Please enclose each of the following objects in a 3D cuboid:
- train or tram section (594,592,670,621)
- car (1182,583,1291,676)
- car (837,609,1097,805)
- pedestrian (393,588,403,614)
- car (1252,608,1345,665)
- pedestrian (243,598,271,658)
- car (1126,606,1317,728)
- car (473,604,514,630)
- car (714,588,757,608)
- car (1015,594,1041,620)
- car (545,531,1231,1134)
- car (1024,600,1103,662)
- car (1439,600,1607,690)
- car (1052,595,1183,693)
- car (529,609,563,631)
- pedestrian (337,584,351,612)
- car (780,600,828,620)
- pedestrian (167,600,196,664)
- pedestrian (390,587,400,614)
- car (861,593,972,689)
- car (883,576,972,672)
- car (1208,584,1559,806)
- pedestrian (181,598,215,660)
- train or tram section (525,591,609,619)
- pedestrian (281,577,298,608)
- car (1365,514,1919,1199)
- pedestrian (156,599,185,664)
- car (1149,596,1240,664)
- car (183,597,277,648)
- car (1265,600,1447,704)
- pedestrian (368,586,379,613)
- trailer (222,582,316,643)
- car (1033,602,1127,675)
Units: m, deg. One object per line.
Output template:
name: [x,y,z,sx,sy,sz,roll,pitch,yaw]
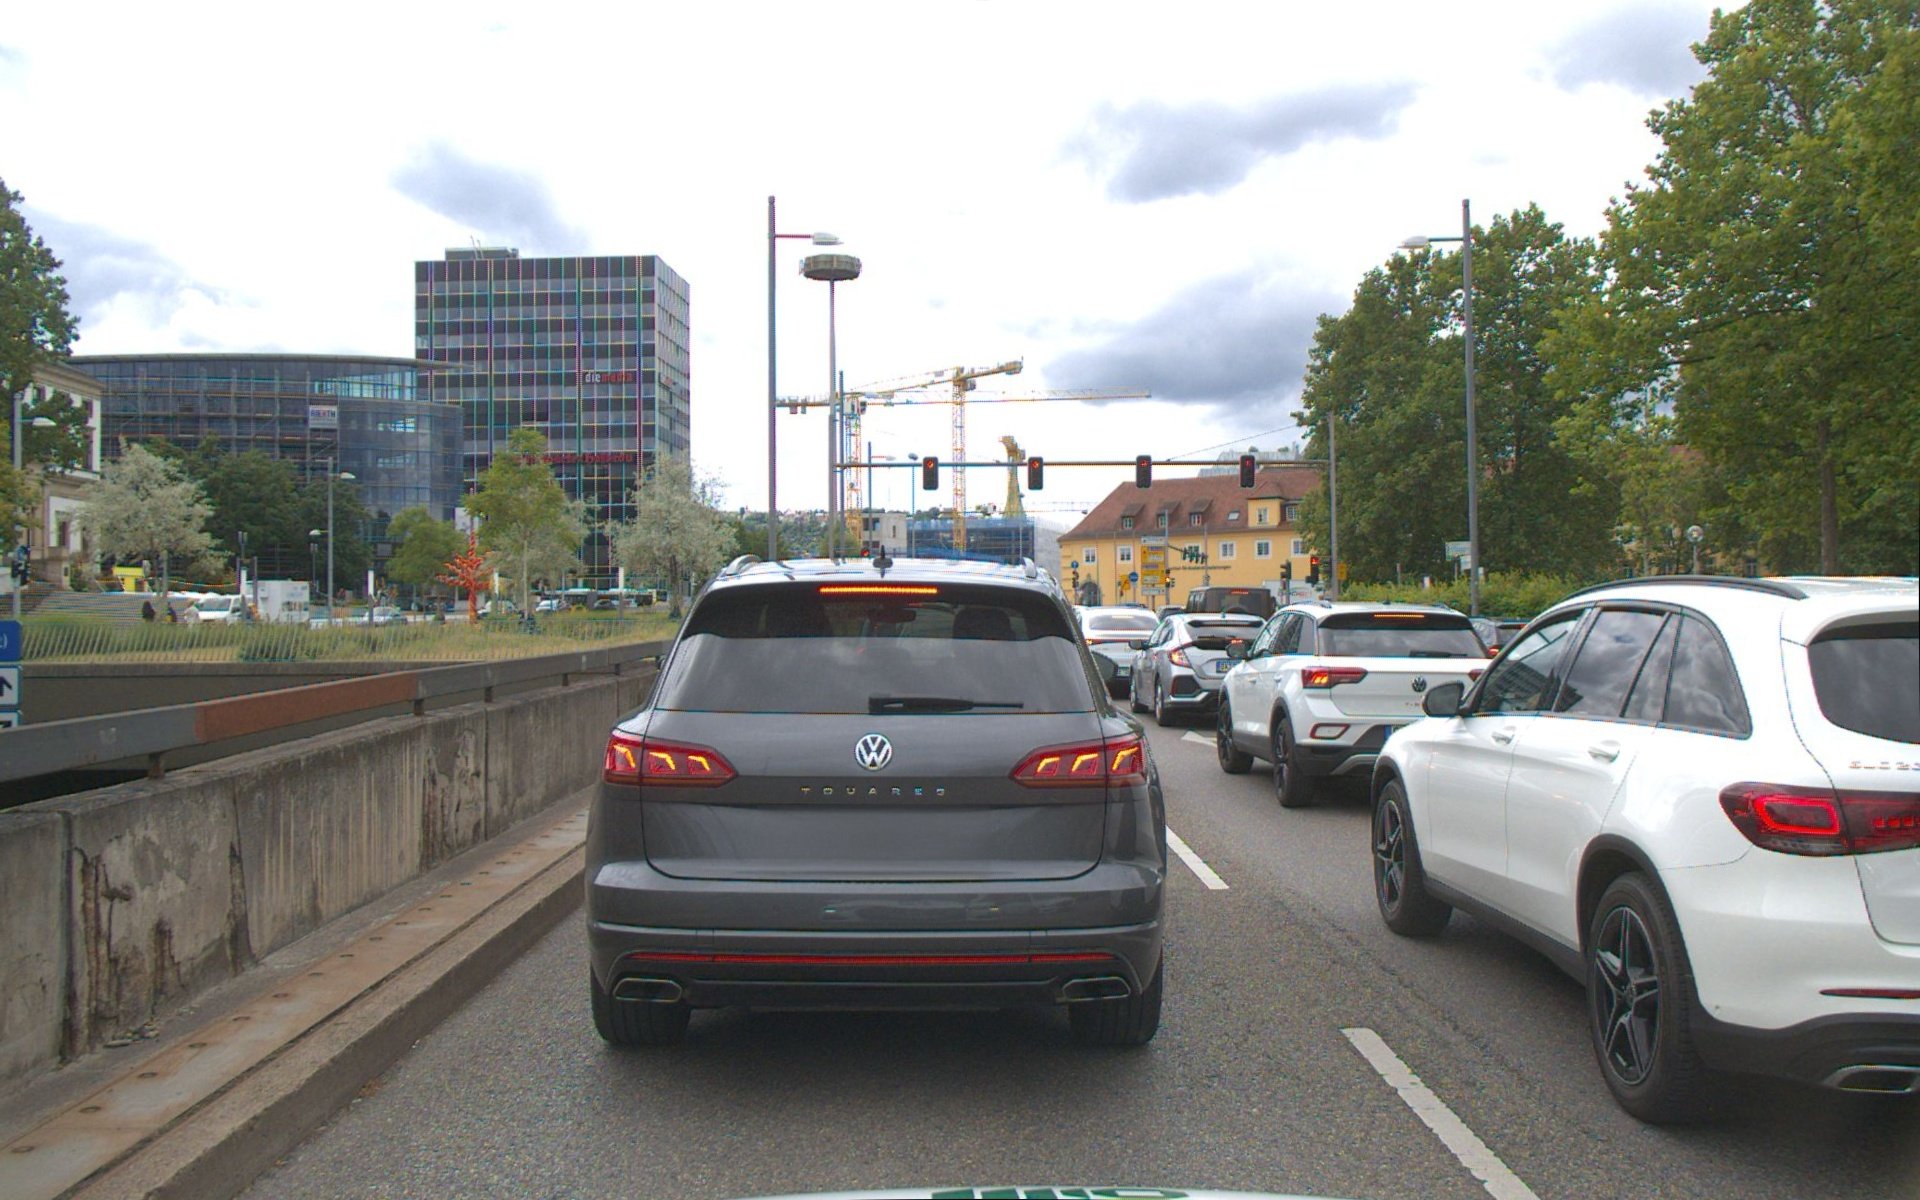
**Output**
train or tram section: [-37.114,0.719,187.000,8.750,3.062,2.593,1,-2,28]
car: [6.482,0.686,39.193,1.871,2.049,4.011,2,-1,0]
car: [0.020,0.814,14.380,1.912,1.408,3.930,2,0,-1]
pedestrian: [-45.881,0.077,135.075,0.728,2.049,0.788,-1,1,-21]
car: [9.347,0.982,45.902,1.722,1.472,3.632,2,-1,-2]
pedestrian: [-24.988,0.984,58.780,0.716,2.047,0.628,-1,4,-8]
car: [3.386,0.841,22.230,1.887,1.457,4.489,1,-1,0]
car: [-29.828,1.109,105.729,1.697,1.521,3.592,2,-1,-3]
car: [-24.321,-0.200,178.864,4.367,2.049,1.994,1,-2,33]
car: [4.565,0.488,111.498,1.586,1.656,3.999,2,-1,0]
car: [-0.230,0.656,6.641,1.912,1.680,3.999,0,0,-1]
car: [2.706,0.820,44.054,1.887,1.556,4.047,1,-1,0]
car: [10.258,0.821,30.475,1.890,1.485,4.529,1,-1,5]
car: [2.670,0.740,28.946,1.887,1.556,4.489,1,-1,0]
car: [-30.712,1.509,122.791,1.697,1.521,3.592,2,-1,-3]
pedestrian: [-46.250,-0.161,124.123,0.723,2.049,0.793,-1,1,0]
car: [-13.866,0.876,147.011,4.142,1.631,1.746,1,-1,36]
pedestrian: [-25.407,1.025,53.988,0.781,2.049,0.829,-1,0,-28]
pedestrian: [-43.126,0.051,126.292,0.727,2.049,0.915,-1,1,-20]
car: [-0.800,0.726,30.996,1.912,1.628,3.930,2,0,-1]
car: [-0.755,0.534,38.533,1.912,2.053,3.930,2,0,-1]
car: [3.378,0.708,14.118,1.887,1.578,4.489,1,-1,0]
pedestrian: [-25.522,0.960,55.399,0.843,2.049,0.628,-1,1,-6]
train or tram section: [-45.490,0.579,191.407,10.195,3.062,2.593,1,-2,28]
pedestrian: [-44.562,-0.509,109.975,0.724,2.049,1.113,-1,1,-6]
car: [2.993,0.639,6.193,1.887,1.682,4.490,0,0,0]
pedestrian: [-25.433,1.007,53.300,0.781,2.049,0.829,-1,0,-28]
car: [6.302,0.799,44.769,1.871,1.727,4.011,2,-1,0]
car: [-31.375,0.926,71.216,1.953,2.048,4.692,0,1,0]
car: [6.763,0.833,28.724,1.954,1.668,4.302,0,0,-3]
pedestrian: [-44.064,-0.029,124.212,0.727,2.049,0.915,-1,1,-20]
trailer: [-31.595,0.514,75.852,1.996,2.650,5.507,2,1,-1]
car: [2.684,0.853,37.765,1.887,1.556,4.047,1,-1,0]
